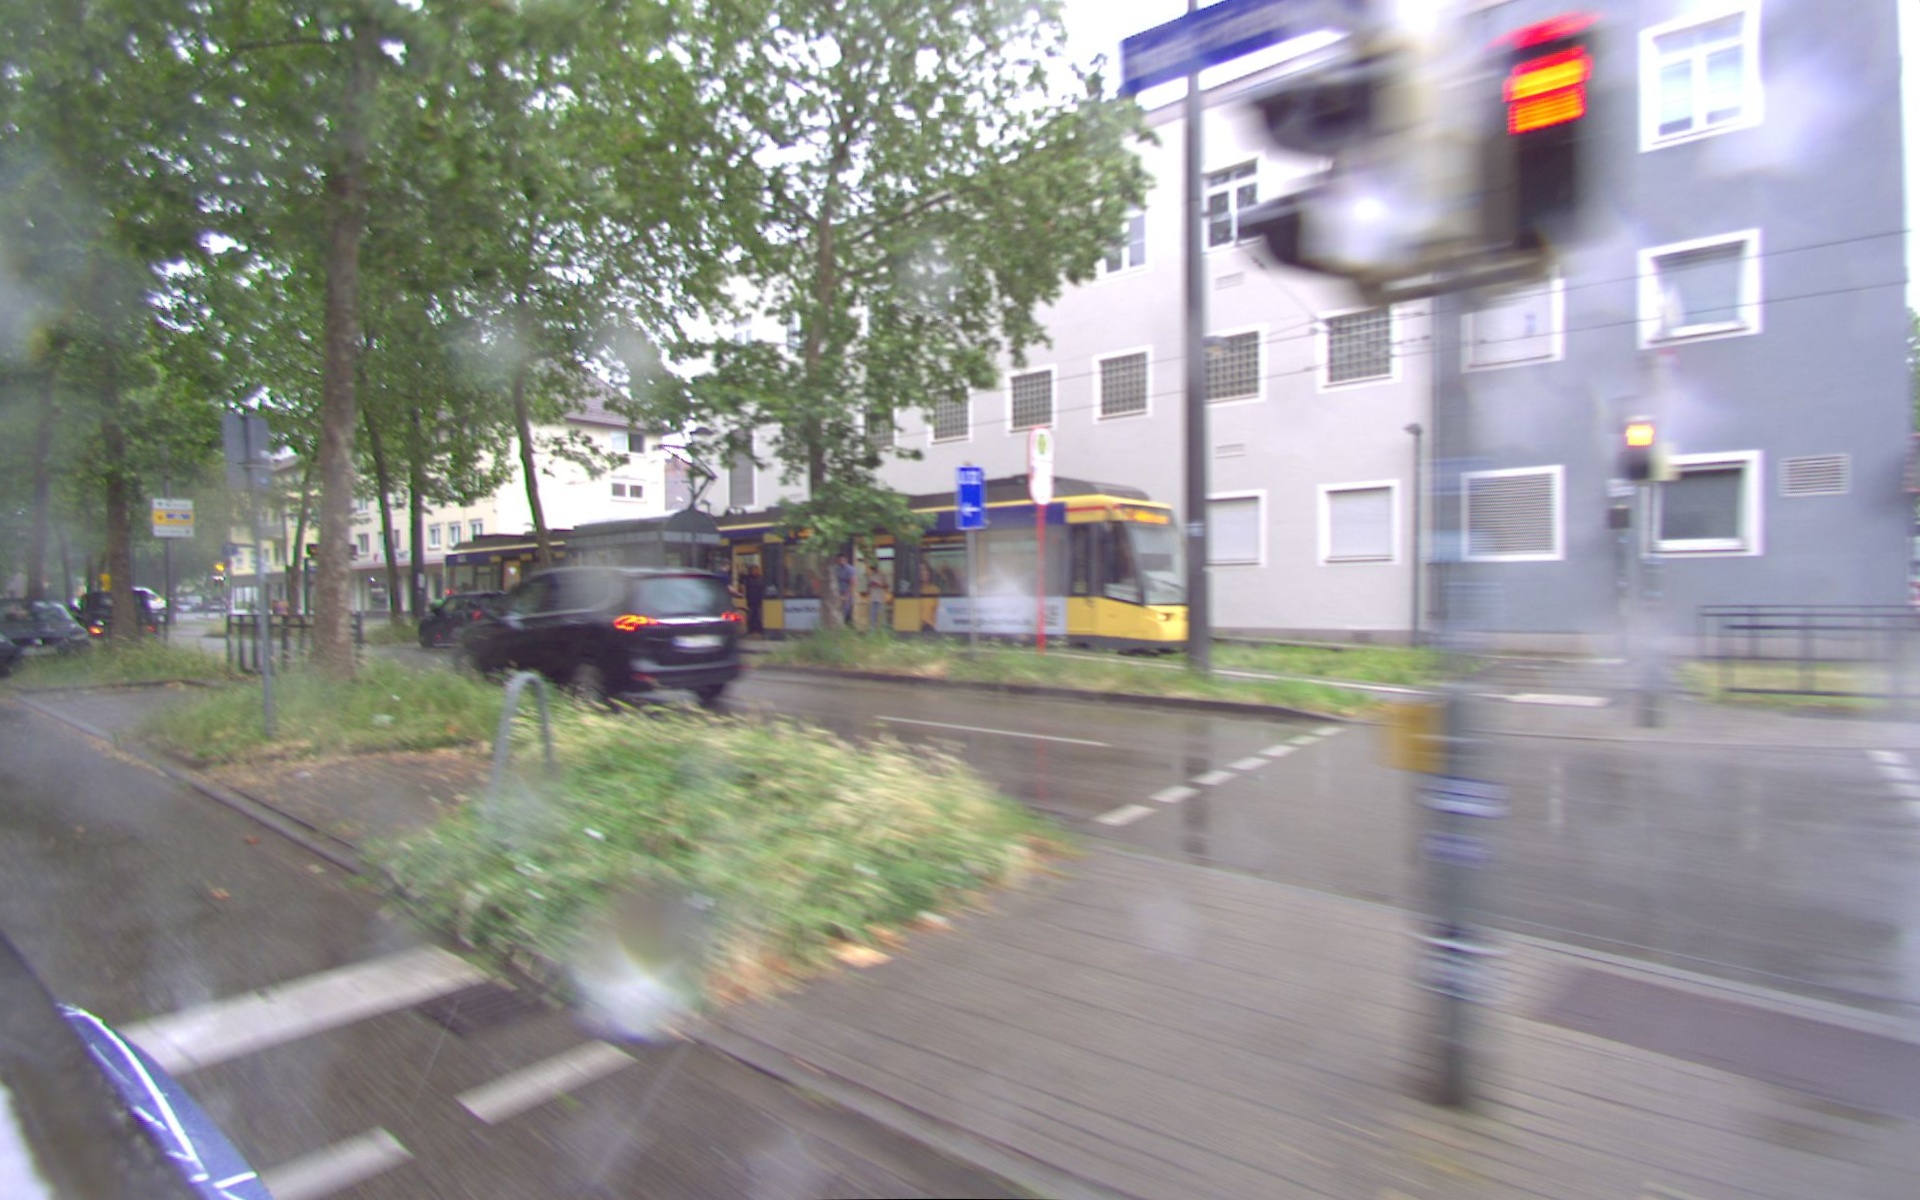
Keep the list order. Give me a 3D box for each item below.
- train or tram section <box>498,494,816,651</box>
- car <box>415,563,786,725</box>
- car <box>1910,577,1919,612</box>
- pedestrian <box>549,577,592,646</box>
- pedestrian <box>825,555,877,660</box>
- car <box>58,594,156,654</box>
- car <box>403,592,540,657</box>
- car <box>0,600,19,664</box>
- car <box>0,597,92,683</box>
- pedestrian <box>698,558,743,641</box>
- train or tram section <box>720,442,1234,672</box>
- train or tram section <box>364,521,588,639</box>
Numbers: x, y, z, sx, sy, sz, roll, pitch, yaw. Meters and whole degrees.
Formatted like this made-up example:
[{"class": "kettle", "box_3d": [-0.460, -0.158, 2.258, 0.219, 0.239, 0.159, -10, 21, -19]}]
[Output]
[{"class": "train or tram section", "box_3d": [-9.003, -0.667, 28.647, 11.546, 3.669, 2.870, 0, 1, 41]}, {"class": "car", "box_3d": [-4.517, 0.464, 12.431, 4.665, 1.631, 2.037, -1, 0, 36]}, {"class": "car", "box_3d": [57.043, -0.326, 57.763, 1.971, 2.029, 4.002, 0, 0, -45]}, {"class": "pedestrian", "box_3d": [-10.408, 0.308, 27.063, 0.946, 1.797, 0.819, -1, 0, -12]}, {"class": "pedestrian", "box_3d": [-1.993, 0.127, 18.453, 0.635, 1.869, 0.654, -1, 0, 41]}, {"class": "car", "box_3d": [-25.700, 0.689, 30.455, 3.646, 1.675, 1.655, -1, 0, 40]}, {"class": "car", "box_3d": [-12.262, 0.581, 25.337, 3.702, 1.395, 1.656, -1, 3, 40]}, {"class": "car", "box_3d": [-25.218, 0.822, 25.726, 3.326, 1.588, 1.551, -1, 0, 41]}, {"class": "car", "box_3d": [-18.163, 0.736, 19.428, 4.003, 1.493, 1.710, -1, 0, 41]}, {"class": "pedestrian", "box_3d": [-5.345, -0.014, 22.644, 0.946, 1.797, 0.819, -1, 0, -12]}, {"class": "train or tram section", "box_3d": [-0.329, -0.700, 21.031, 11.546, 3.669, 2.870, 0, 1, 41]}, {"class": "train or tram section", "box_3d": [-17.645, -0.634, 36.272, 11.546, 3.669, 2.870, 0, 1, 41]}]
